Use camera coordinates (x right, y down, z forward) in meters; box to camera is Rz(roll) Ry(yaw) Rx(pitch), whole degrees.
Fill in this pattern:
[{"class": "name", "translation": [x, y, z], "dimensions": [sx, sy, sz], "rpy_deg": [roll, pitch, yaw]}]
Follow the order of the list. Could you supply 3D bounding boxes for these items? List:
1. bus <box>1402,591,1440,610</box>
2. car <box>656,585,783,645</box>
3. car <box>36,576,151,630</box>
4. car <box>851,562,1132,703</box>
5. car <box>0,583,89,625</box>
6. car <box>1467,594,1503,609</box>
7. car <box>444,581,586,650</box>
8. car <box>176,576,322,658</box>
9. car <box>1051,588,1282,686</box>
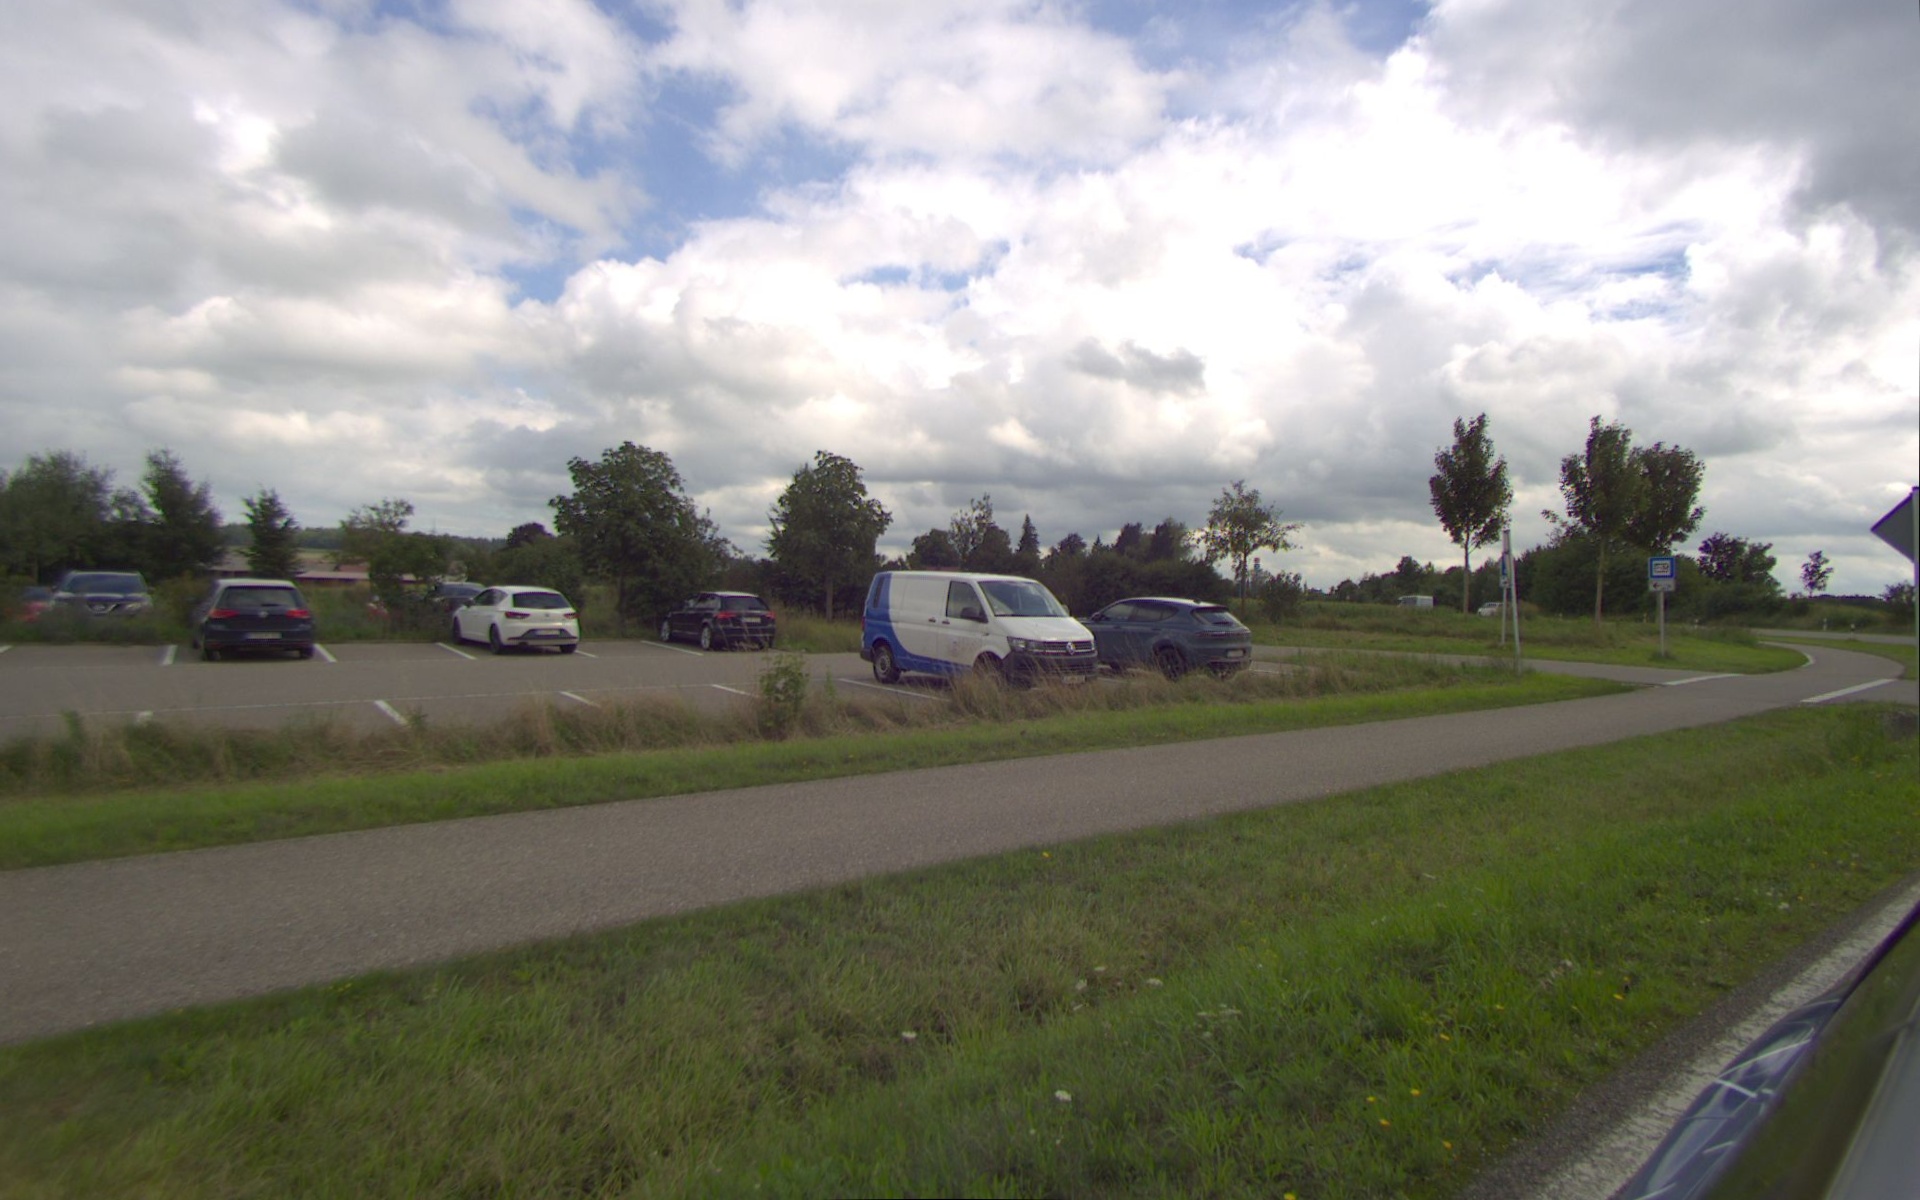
[{"class": "bus", "translation": [68.719, 0.044, 150.984], "dimensions": [2.439, 2.745, 8.419], "rpy_deg": [1, 0, 5]}, {"class": "car", "translation": [-6.172, 0.329, 25.739], "dimensions": [1.699, 1.408, 3.695], "rpy_deg": [1, 0, -39]}, {"class": "car", "translation": [-20.920, 0.047, 24.530], "dimensions": [1.964, 1.182, 3.995], "rpy_deg": [1, 0, -40]}, {"class": "car", "translation": [0.344, 0.440, 16.943], "dimensions": [1.920, 1.999, 4.957], "rpy_deg": [1, 0, -39]}, {"class": "car", "translation": [-27.739, 0.102, 30.645], "dimensions": [1.964, 1.182, 3.995], "rpy_deg": [1, 0, -40]}, {"class": "car", "translation": [67.972, 0.162, 131.199], "dimensions": [2.081, 1.892, 5.184], "rpy_deg": [1, 0, 1]}, {"class": "car", "translation": [-10.028, 0.296, 22.689], "dimensions": [1.730, 1.408, 3.690], "rpy_deg": [1, 0, -44]}, {"class": "car", "translation": [-13.668, 0.268, 19.384], "dimensions": [1.730, 1.408, 3.690], "rpy_deg": [1, 0, -44]}, {"class": "car", "translation": [3.962, 0.635, 19.995], "dimensions": [1.805, 1.585, 4.282], "rpy_deg": [1, 2, -39]}]
